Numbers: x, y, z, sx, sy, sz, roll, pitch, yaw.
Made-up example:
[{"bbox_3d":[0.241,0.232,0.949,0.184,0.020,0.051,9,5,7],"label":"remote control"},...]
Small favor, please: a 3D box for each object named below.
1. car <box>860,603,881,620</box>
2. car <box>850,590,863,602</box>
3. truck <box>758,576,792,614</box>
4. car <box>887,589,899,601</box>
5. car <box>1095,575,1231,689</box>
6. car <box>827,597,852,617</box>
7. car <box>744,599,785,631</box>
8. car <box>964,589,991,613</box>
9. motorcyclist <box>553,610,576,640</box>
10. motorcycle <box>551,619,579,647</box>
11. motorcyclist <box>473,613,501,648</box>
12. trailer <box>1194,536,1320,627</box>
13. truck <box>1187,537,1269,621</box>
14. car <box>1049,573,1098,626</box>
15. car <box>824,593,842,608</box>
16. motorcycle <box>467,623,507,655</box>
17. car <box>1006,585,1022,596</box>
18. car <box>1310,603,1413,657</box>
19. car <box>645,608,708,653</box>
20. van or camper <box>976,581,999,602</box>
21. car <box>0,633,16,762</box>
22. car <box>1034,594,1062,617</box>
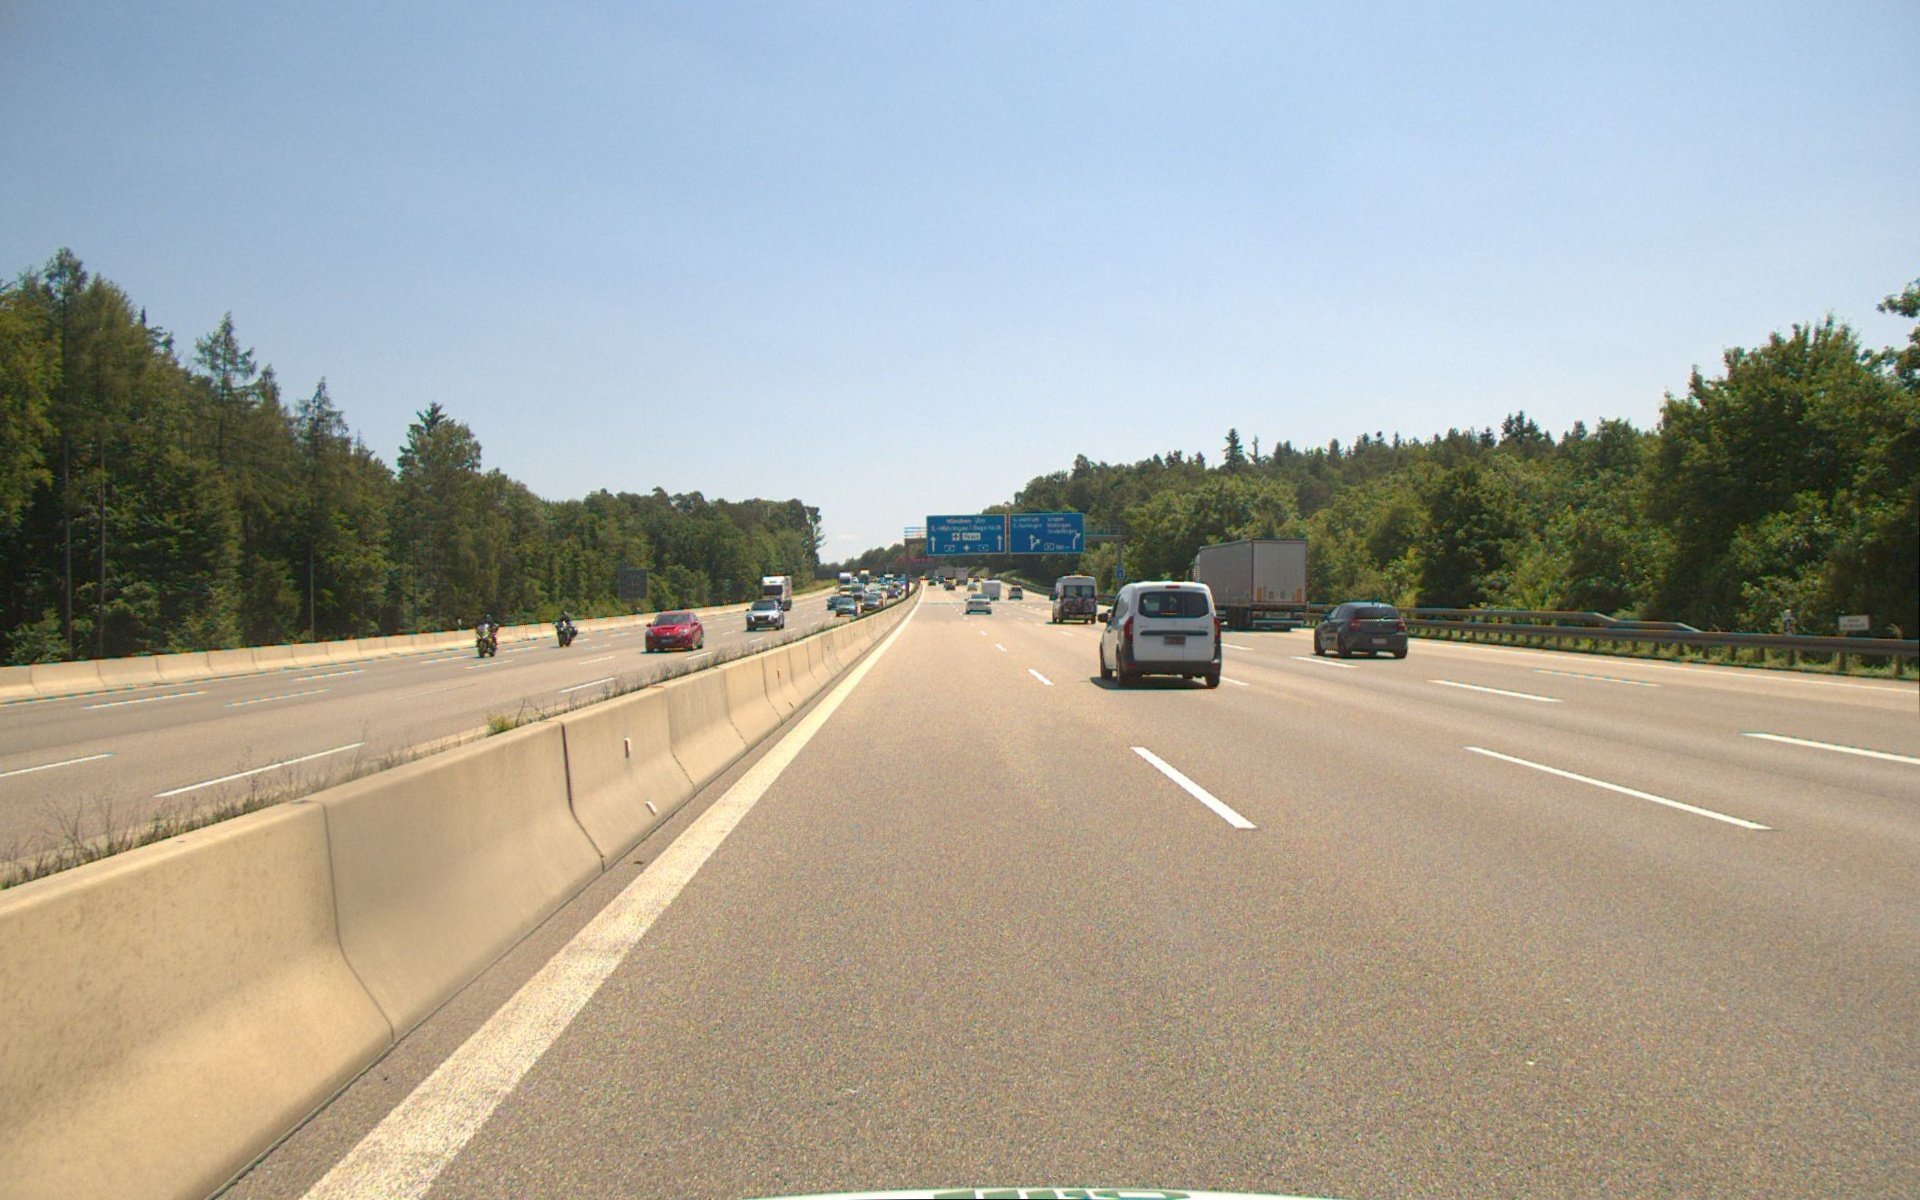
[{"bbox_3d":[-8.027,1.009,148.099,1.717,1.401,4.490,1,0,-1],"label":"car"},{"bbox_3d":[-14.251,-0.577,227.782,1.670,1.592,3.759,-1,0,-1],"label":"car"},{"bbox_3d":[-20.415,-0.484,182.601,2.664,4.008,10.233,-2,0,-1],"label":"truck"},{"bbox_3d":[-10.002,-0.714,248.587,1.670,1.691,3.759,-1,0,-1],"label":"car"},{"bbox_3d":[3.618,0.546,30.221,1.822,1.857,4.611,-2,0,-1],"label":"car"},{"bbox_3d":[-9.779,0.526,134.244,1.682,1.538,4.350,-2,0,-1],"label":"car"},{"bbox_3d":[-11.033,0.851,93.491,1.931,1.754,4.506,0,0,-2],"label":"car"},{"bbox_3d":[1.256,0.102,121.747,1.806,1.657,4.552,-2,0,-1],"label":"car"},{"bbox_3d":[-18.370,1.167,76.809,0.745,1.324,1.077,-2,0,-1],"label":"motorcyclist"},{"bbox_3d":[-18.369,1.521,76.909,0.723,1.235,2.349,-2,0,-1],"label":"motorcycle"},{"bbox_3d":[-18.374,1.183,64.290,0.753,1.324,1.077,-2,0,-1],"label":"motorcyclist"},{"bbox_3d":[14.039,-0.917,79.632,3.221,3.999,13.887,0,1,-2],"label":"trailer"},{"bbox_3d":[13.875,-1.104,86.163,3.188,4.178,5.986,0,1,-1],"label":"truck"},{"bbox_3d":[6.132,-0.045,89.876,2.100,2.698,5.708,-2,0,-1],"label":"car"},{"bbox_3d":[-13.514,0.048,176.768,1.683,1.475,4.907,-1,1,-2],"label":"car"},{"bbox_3d":[-18.399,1.499,64.431,0.762,1.161,2.755,-2,0,-1],"label":"motorcycle"},{"bbox_3d":[7.173,-1.263,219.685,1.798,1.361,3.642,-2,0,-1],"label":"car"},{"bbox_3d":[10.552,0.760,43.764,1.636,1.296,4.289,-1,0,-1],"label":"car"},{"bbox_3d":[-10.644,1.107,62.316,1.540,1.538,4.030,-2,0,1],"label":"car"},{"bbox_3d":[3.507,-1.090,212.945,2.591,2.583,6.500,-2,0,-1],"label":"van or camper"},{"bbox_3d":[-13.757,1.348,19.738,2.005,1.703,5.187,-2,0,-1],"label":"car"},{"bbox_3d":[6.487,0.390,122.226,1.781,1.668,3.999,-2,0,-1],"label":"car"}]
